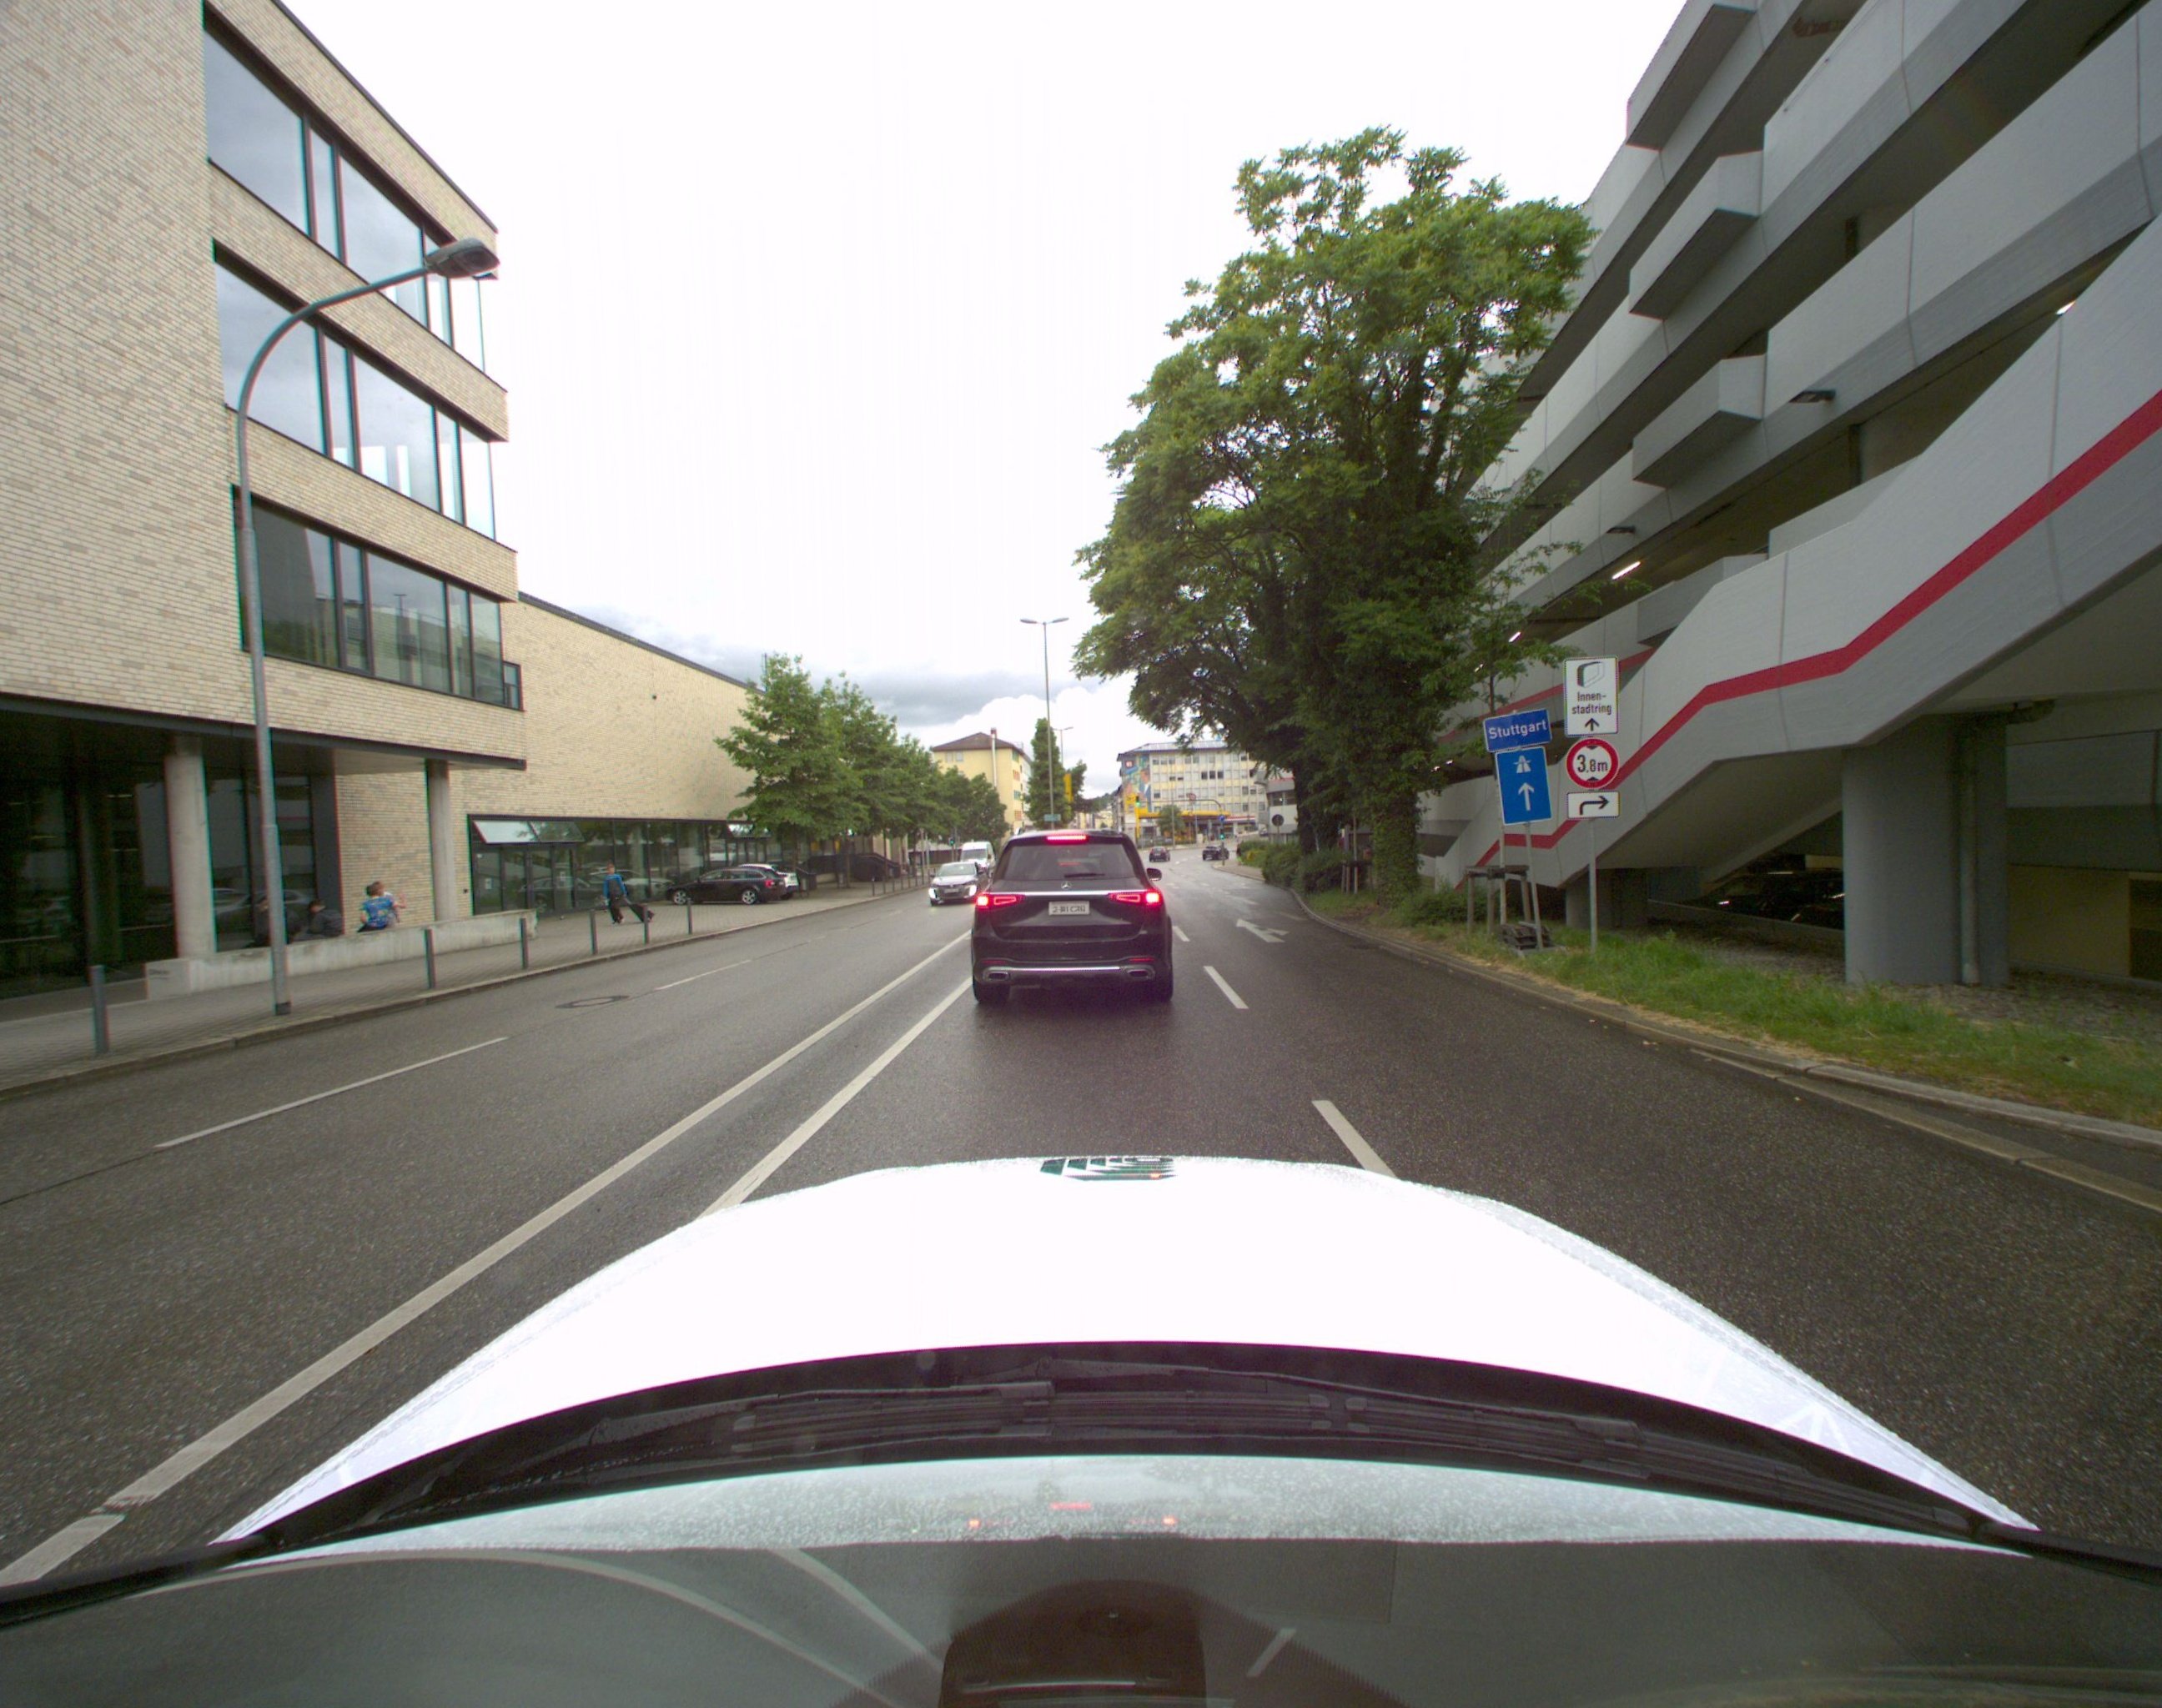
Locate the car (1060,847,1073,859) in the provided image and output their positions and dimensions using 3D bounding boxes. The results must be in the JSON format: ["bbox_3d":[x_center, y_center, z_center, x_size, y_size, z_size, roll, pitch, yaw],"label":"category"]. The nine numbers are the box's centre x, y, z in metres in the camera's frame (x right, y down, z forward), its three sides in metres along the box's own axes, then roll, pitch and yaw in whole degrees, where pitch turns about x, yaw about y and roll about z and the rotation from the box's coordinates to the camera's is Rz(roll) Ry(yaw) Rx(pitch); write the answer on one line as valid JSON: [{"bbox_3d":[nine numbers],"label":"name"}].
[{"bbox_3d":[-2.160,-0.158,120.645,1.900,1.703,3.998,0,-1,-1],"label":"car"}]

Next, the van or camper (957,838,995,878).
[{"bbox_3d":[-7.455,0.268,58.415,2.097,2.582,5.902,-4,0,-3],"label":"van or camper"}]

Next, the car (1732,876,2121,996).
[{"bbox_3d":[12.946,1.226,12.727,3.966,1.624,1.842,-1,0,6],"label":"car"}]

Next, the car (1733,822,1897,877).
[{"bbox_3d":[26.218,-0.142,29.245,3.958,1.783,1.823,-2,0,14],"label":"car"}]

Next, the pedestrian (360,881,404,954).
[{"bbox_3d":[-14.374,1.292,16.753,0.440,1.475,0.528,0,-1,-3],"label":"pedestrian"}]

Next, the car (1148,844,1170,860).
[{"bbox_3d":[7.554,-0.203,78.931,1.785,1.525,4.068,0,1,10],"label":"car"}]

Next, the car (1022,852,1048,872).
[{"bbox_3d":[-3.816,0.680,68.875,1.877,1.498,4.560,-4,0,-1],"label":"car"}]

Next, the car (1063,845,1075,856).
[{"bbox_3d":[-2.032,-0.562,138.860,1.862,1.839,3.819,0,-1,0],"label":"car"}]

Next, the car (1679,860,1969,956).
[{"bbox_3d":[13.909,0.991,15.464,3.713,1.540,1.815,-1,3,7],"label":"car"}]

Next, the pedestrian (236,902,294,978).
[{"bbox_3d":[-13.541,1.416,13.520,0.546,1.215,0.422,0,-1,4],"label":"pedestrian"}]

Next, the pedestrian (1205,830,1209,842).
[{"bbox_3d":[18.578,-2.687,120.155,0.570,1.697,0.631,0,-1,3],"label":"pedestrian"}]

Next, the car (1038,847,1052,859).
[{"bbox_3d":[-5.253,-0.142,119.514,1.900,1.703,3.998,0,-1,-1],"label":"car"}]

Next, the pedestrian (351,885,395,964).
[{"bbox_3d":[-13.623,1.350,15.677,0.448,1.475,0.463,0,-1,-4],"label":"pedestrian"}]

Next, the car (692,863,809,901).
[{"bbox_3d":[-14.144,1.190,35.018,4.158,1.547,2.002,0,-1,3],"label":"car"}]

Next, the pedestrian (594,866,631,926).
[{"bbox_3d":[-13.676,1.209,23.790,0.632,1.714,0.705,0,-1,4],"label":"pedestrian"}]

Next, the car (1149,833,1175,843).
[{"bbox_3d":[12.781,-2.538,128.495,1.747,1.376,3.952,-4,1,-42],"label":"car"}]

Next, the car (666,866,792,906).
[{"bbox_3d":[-14.046,1.261,32.710,4.169,1.495,1.997,0,-1,-5],"label":"car"}]

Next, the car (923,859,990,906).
[{"bbox_3d":[-4.391,0.967,29.261,1.735,1.470,3.882,-4,0,0],"label":"car"}]

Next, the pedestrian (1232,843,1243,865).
[{"bbox_3d":[12.536,-0.017,65.207,0.639,1.710,0.474,-2,-1,38],"label":"pedestrian"}]

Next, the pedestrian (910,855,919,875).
[{"bbox_3d":[-13.873,0.906,67.846,0.641,1.665,1.017,0,-1,-4],"label":"pedestrian"}]

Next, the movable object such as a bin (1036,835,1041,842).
[{"bbox_3d":[-7.371,-2.702,141.645,0.906,1.038,0.844,0,-1,2],"label":"movable object such as a bin"}]

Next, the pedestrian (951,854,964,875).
[{"bbox_3d":[-10.345,0.882,68.122,0.948,1.704,0.709,0,-1,-16],"label":"pedestrian"}]

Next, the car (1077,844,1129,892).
[{"bbox_3d":[0.899,0.555,33.348,1.986,1.800,4.001,0,-1,2],"label":"car"}]

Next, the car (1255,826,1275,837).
[{"bbox_3d":[31.167,-3.849,137.930,1.974,1.705,4.026,-2,1,35],"label":"car"}]

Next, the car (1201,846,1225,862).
[{"bbox_3d":[13.203,0.018,81.381,1.931,1.486,4.017,-1,-1,16],"label":"car"}]

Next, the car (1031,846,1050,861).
[{"bbox_3d":[-4.496,-0.031,90.914,1.806,1.462,4.286,-4,0,-1],"label":"car"}]

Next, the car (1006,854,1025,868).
[{"bbox_3d":[-7.204,0.758,90.231,1.792,1.495,3.802,0,0,-1],"label":"car"}]

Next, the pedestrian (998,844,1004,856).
[{"bbox_3d":[-11.267,-0.544,114.803,0.647,1.727,0.628,-3,1,-2],"label":"pedestrian"}]

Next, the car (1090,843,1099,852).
[{"bbox_3d":[3.212,-1.611,189.412,1.985,2.014,4.003,0,-1,3],"label":"car"}]

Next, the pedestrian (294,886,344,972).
[{"bbox_3d":[-13.523,1.314,14.467,0.448,1.475,0.463,0,-1,-4],"label":"pedestrian"}]

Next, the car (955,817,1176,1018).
[{"bbox_3d":[-0.081,0.590,9.363,1.986,1.800,4.001,0,-1,2],"label":"car"}]

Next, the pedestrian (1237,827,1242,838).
[{"bbox_3d":[26.562,-3.586,136.455,0.521,1.727,0.693,-2,1,28],"label":"pedestrian"}]

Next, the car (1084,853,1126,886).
[{"bbox_3d":[1.152,0.712,39.263,1.900,1.501,4.001,0,0,2],"label":"car"}]
